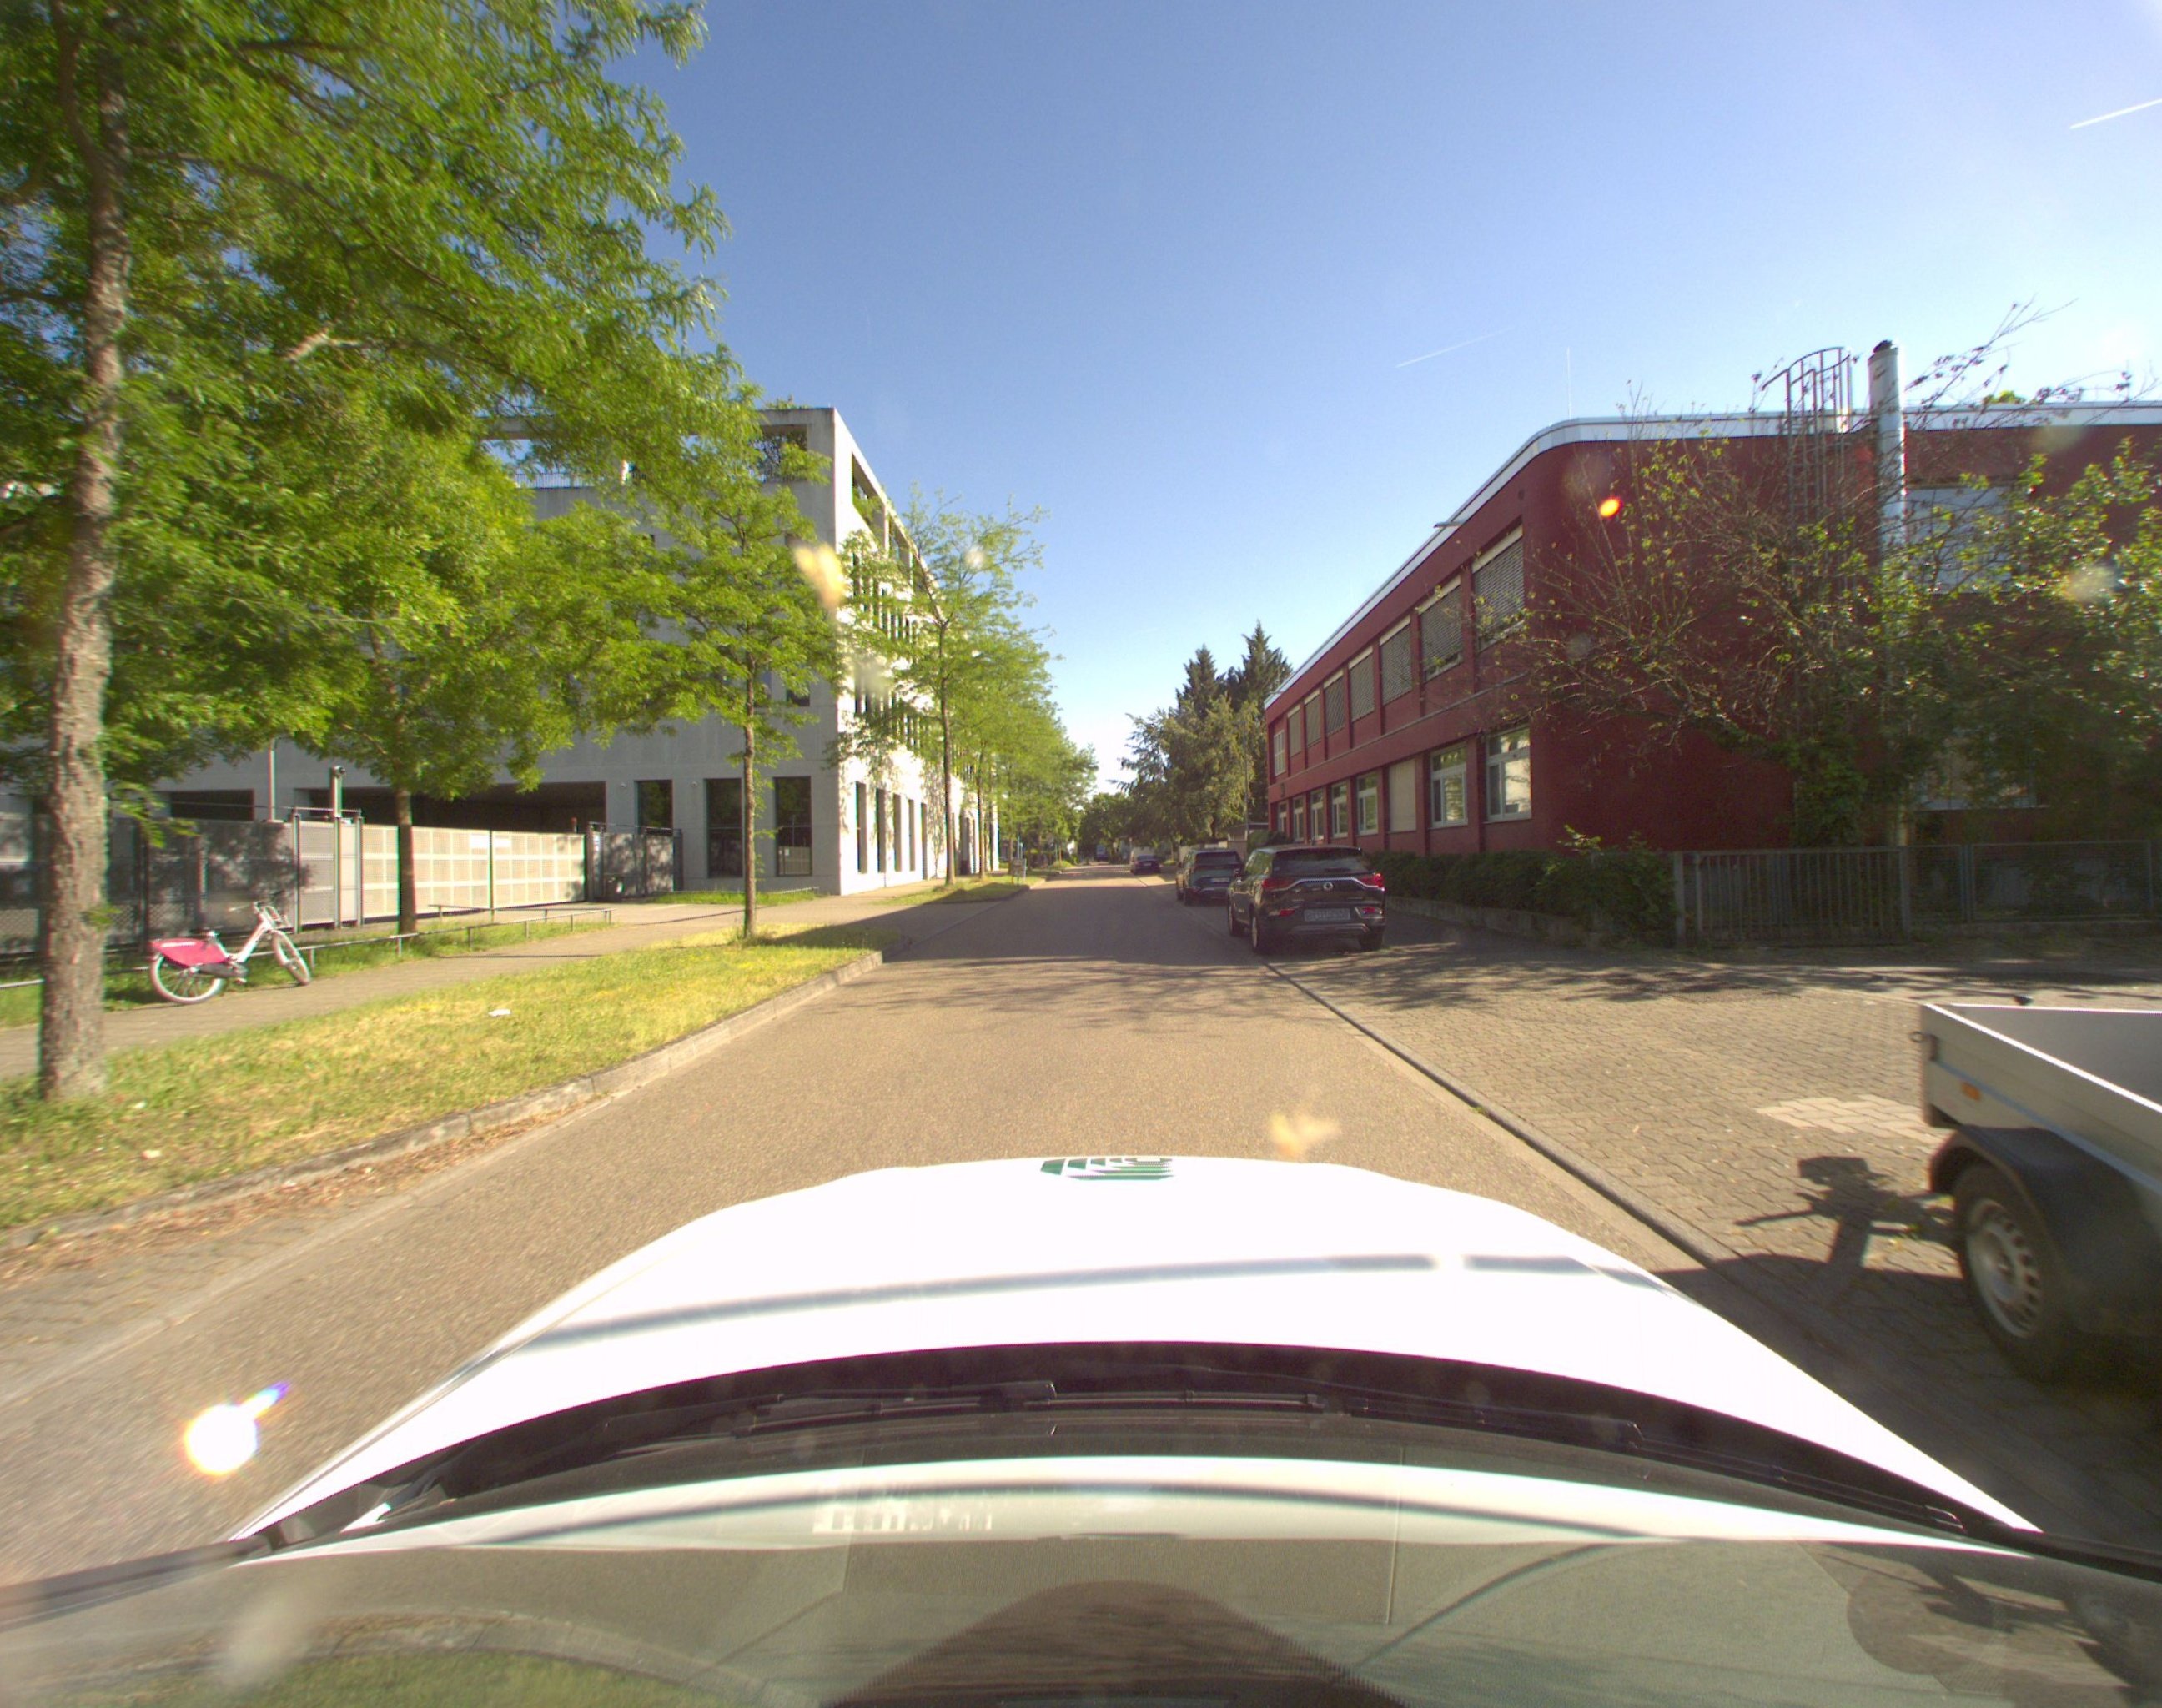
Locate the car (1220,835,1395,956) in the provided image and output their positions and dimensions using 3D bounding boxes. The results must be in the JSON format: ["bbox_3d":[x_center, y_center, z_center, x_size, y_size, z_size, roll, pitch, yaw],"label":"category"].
[{"bbox_3d":[3.460,0.570,13.273,1.830,1.634,4.204,-1,0,2],"label":"car"}]

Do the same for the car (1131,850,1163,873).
[{"bbox_3d":[4.561,0.504,56.997,1.986,1.442,4.002,-4,0,2],"label":"car"}]

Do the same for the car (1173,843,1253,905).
[{"bbox_3d":[3.849,0.565,24.372,1.848,1.648,4.002,-2,-1,2],"label":"car"}]

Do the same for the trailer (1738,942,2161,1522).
[{"bbox_3d":[3.520,0.935,2.750,1.359,0.912,2.955,-1,0,25],"label":"trailer"}]

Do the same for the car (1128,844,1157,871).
[{"bbox_3d":[4.722,0.248,62.796,1.986,1.834,4.002,-4,0,2],"label":"car"}]

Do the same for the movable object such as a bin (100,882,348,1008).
[{"bbox_3d":[-9.425,0.941,9.095,0.660,1.181,1.936,-1,0,2],"label":"movable object such as a bin"}]
